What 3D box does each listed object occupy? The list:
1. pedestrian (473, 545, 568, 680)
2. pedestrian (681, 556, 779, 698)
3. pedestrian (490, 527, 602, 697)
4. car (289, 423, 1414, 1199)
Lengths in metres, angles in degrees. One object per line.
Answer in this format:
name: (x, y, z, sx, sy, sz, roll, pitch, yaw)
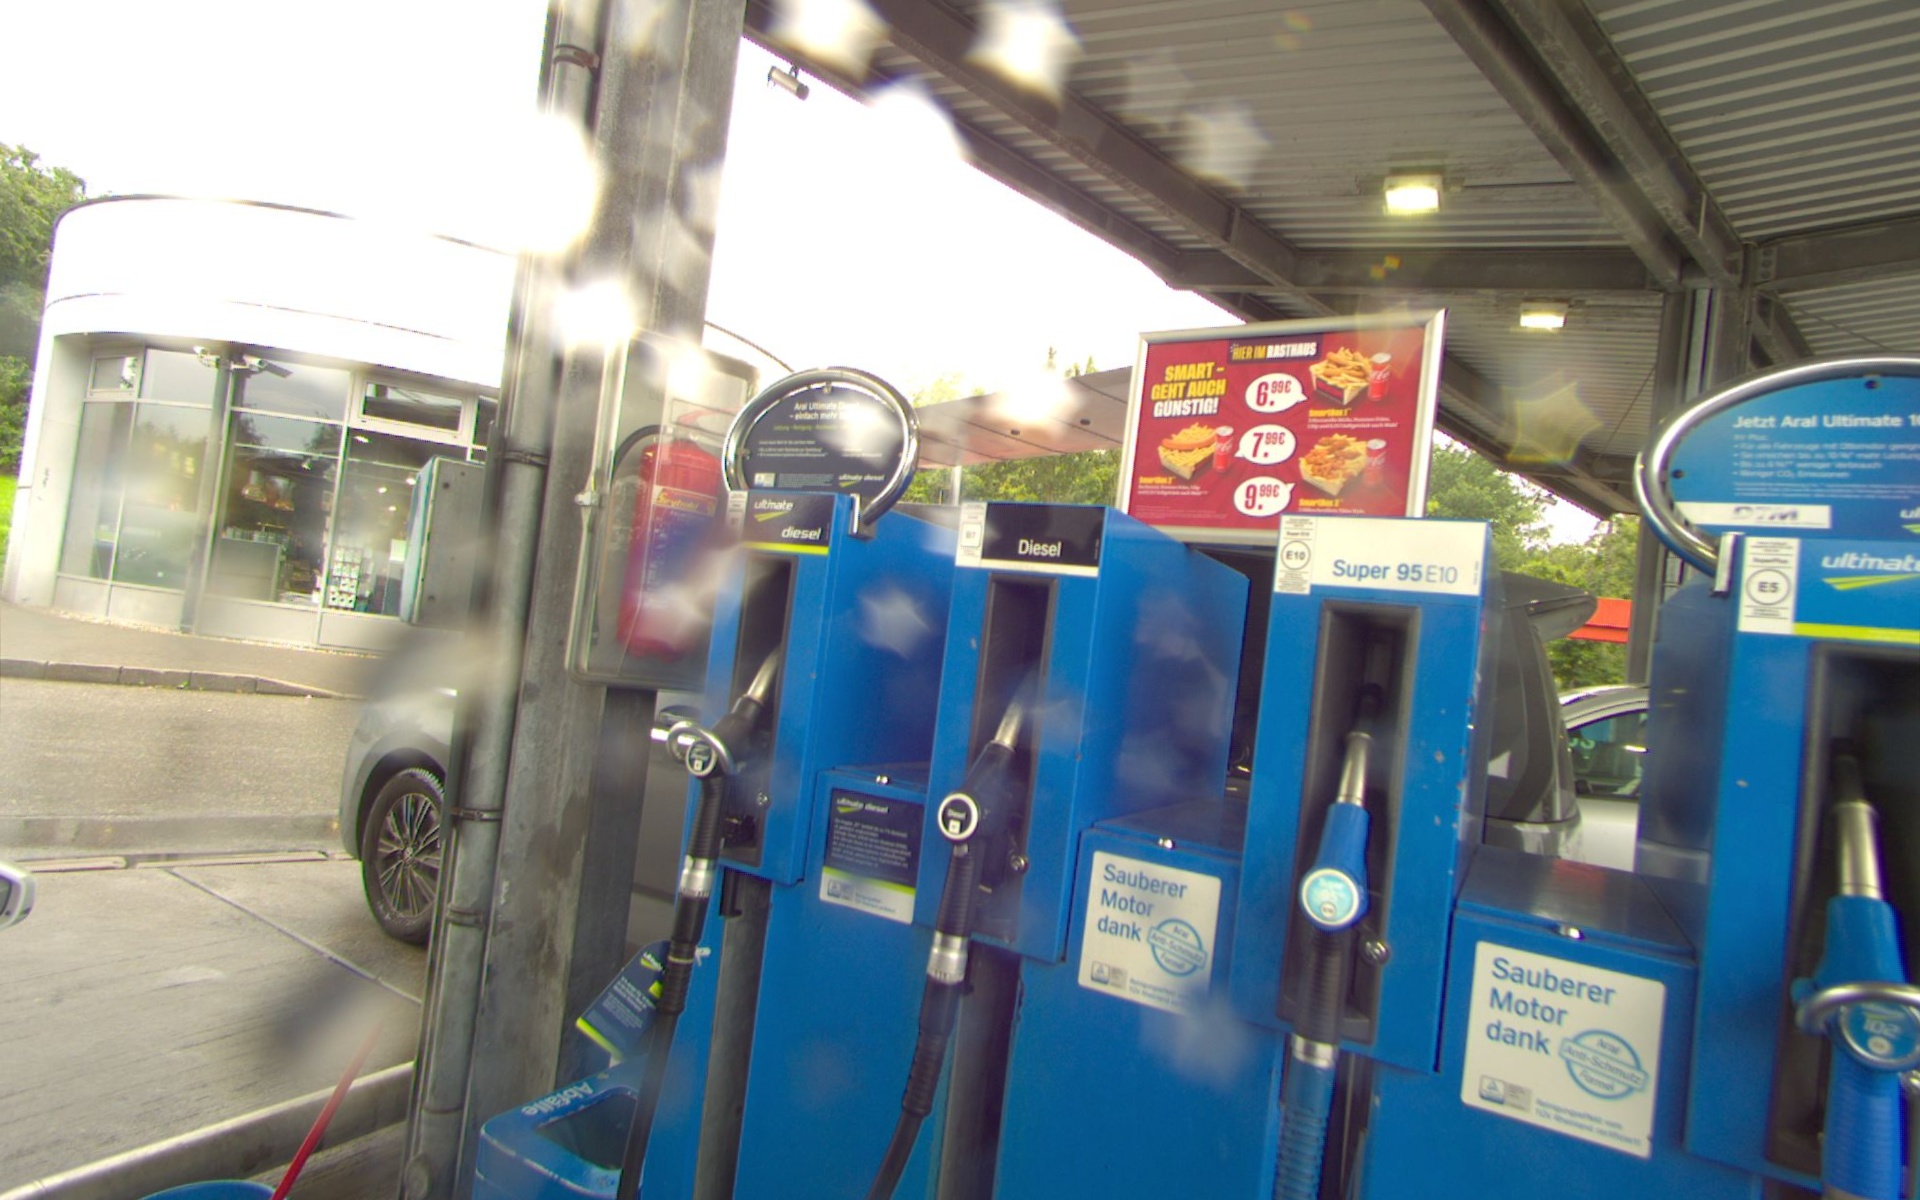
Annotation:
pedestrian: (-5.536, 0.150, 12.666, 0.882, 1.569, 0.655, 7, 0, -29)
pedestrian: (-3.320, 0.385, 14.474, 0.990, 1.887, 0.793, 7, 0, -30)
pedestrian: (-4.953, 0.142, 12.030, 0.965, 1.871, 0.767, 7, 0, -30)
car: (-0.570, 0.521, 3.969, 3.934, 1.971, 1.819, 7, -1, 32)
